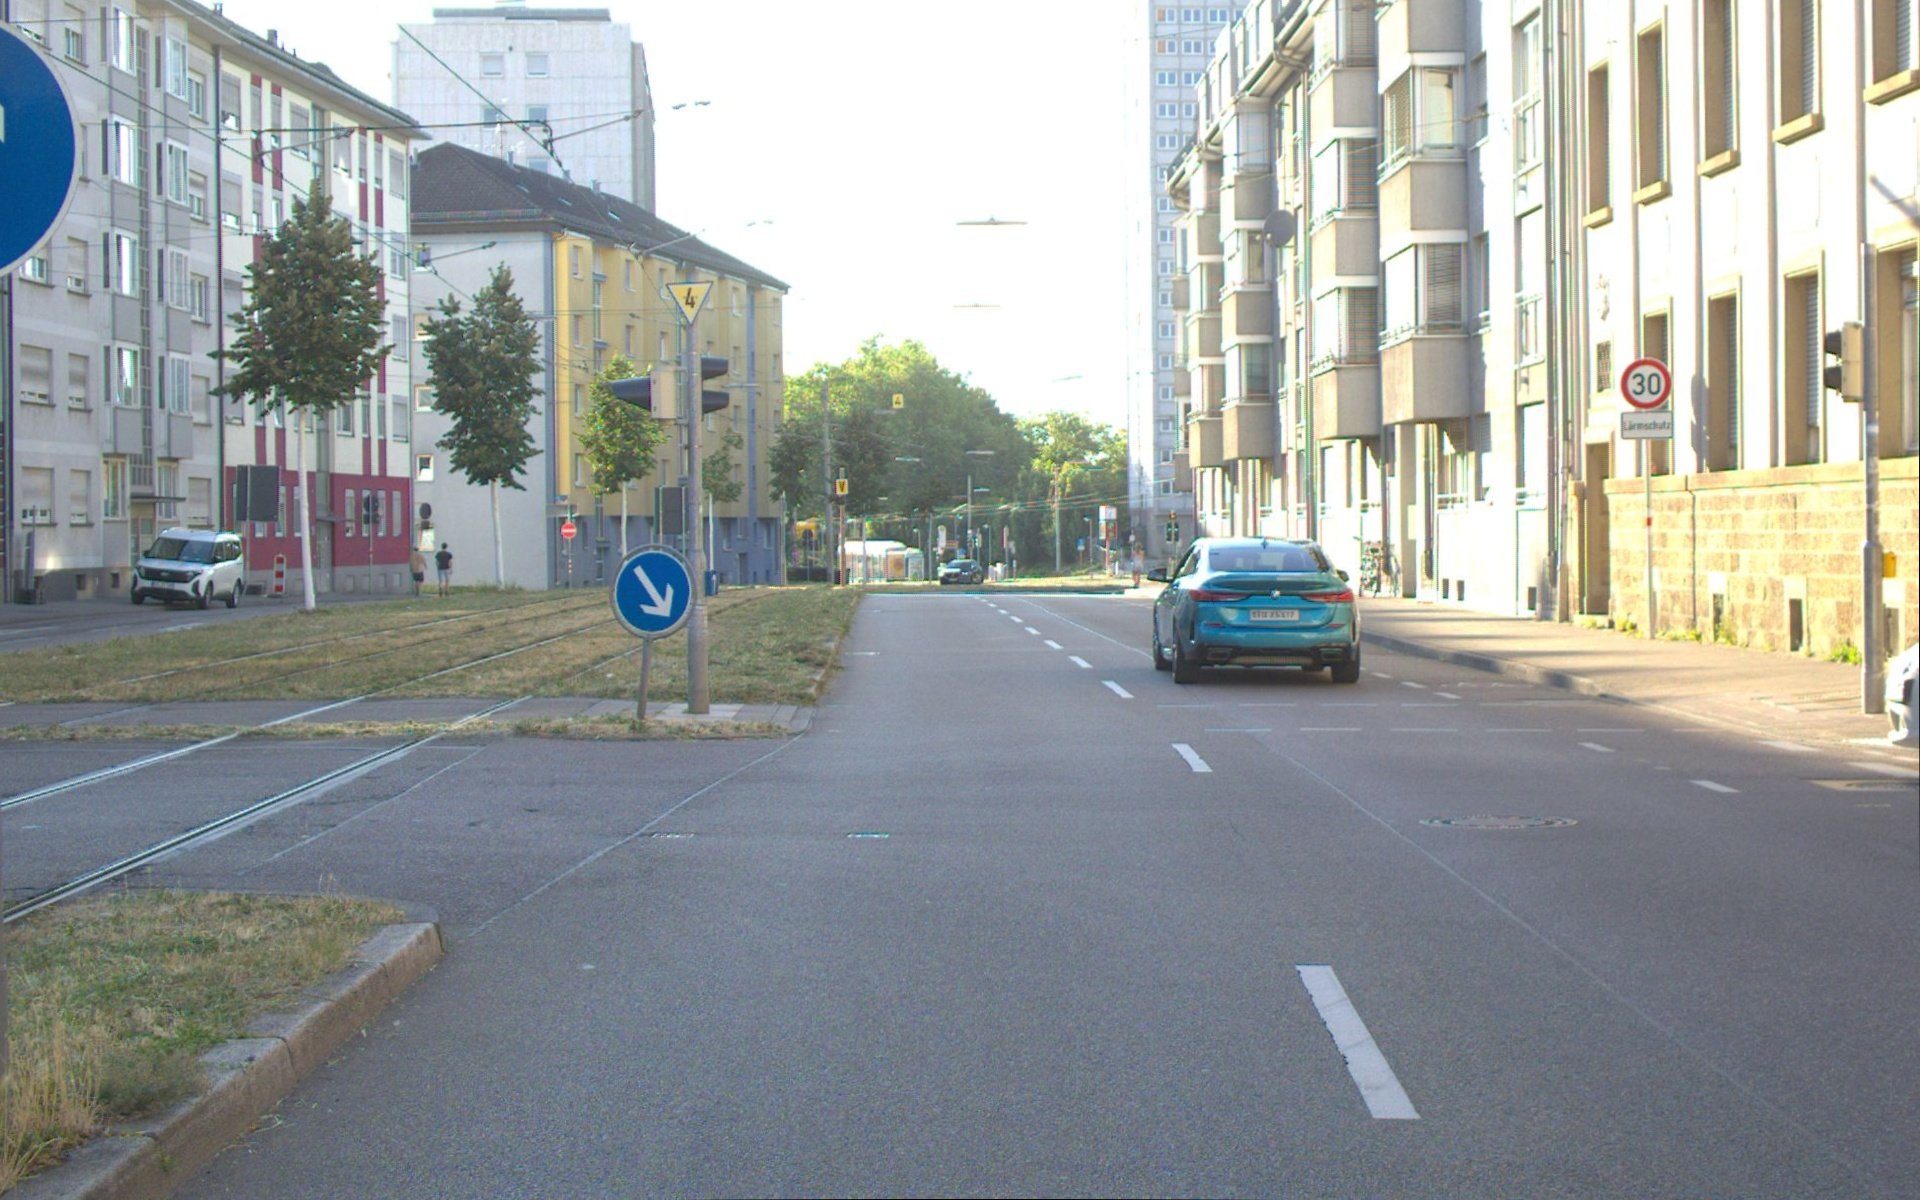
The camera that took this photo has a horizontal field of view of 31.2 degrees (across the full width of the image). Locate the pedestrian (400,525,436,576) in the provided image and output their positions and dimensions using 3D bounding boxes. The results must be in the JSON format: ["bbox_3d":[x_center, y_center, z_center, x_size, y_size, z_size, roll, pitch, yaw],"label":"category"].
[{"bbox_3d":[-18.092,-1.637,114.829,0.962,1.688,1.011,1,0,5],"label":"pedestrian"}]

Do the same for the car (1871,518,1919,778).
[{"bbox_3d":[7.723,0.288,21.012,3.991,1.558,1.998,0,0,21],"label":"car"}]

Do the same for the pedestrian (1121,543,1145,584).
[{"bbox_3d":[5.209,-1.100,103.631,0.691,1.230,0.736,1,0,0],"label":"pedestrian"}]

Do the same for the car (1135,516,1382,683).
[{"bbox_3d":[2.935,-0.028,34.739,1.993,1.549,4.394,1,1,-1],"label":"car"}]

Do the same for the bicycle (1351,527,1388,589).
[{"bbox_3d":[7.364,-0.753,61.875,0.383,1.092,1.504,-1,1,-3],"label":"bicycle"}]

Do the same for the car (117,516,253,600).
[{"bbox_3d":[-18.352,-0.996,81.614,1.994,1.918,4.541,1,1,3],"label":"car"}]

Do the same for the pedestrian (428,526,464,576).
[{"bbox_3d":[-17.186,-1.627,115.003,0.962,1.664,1.011,1,0,5],"label":"pedestrian"}]

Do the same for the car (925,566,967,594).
[{"bbox_3d":[-0.830,-1.211,206.674,1.898,1.628,4.746,-1,1,8],"label":"car"}]
